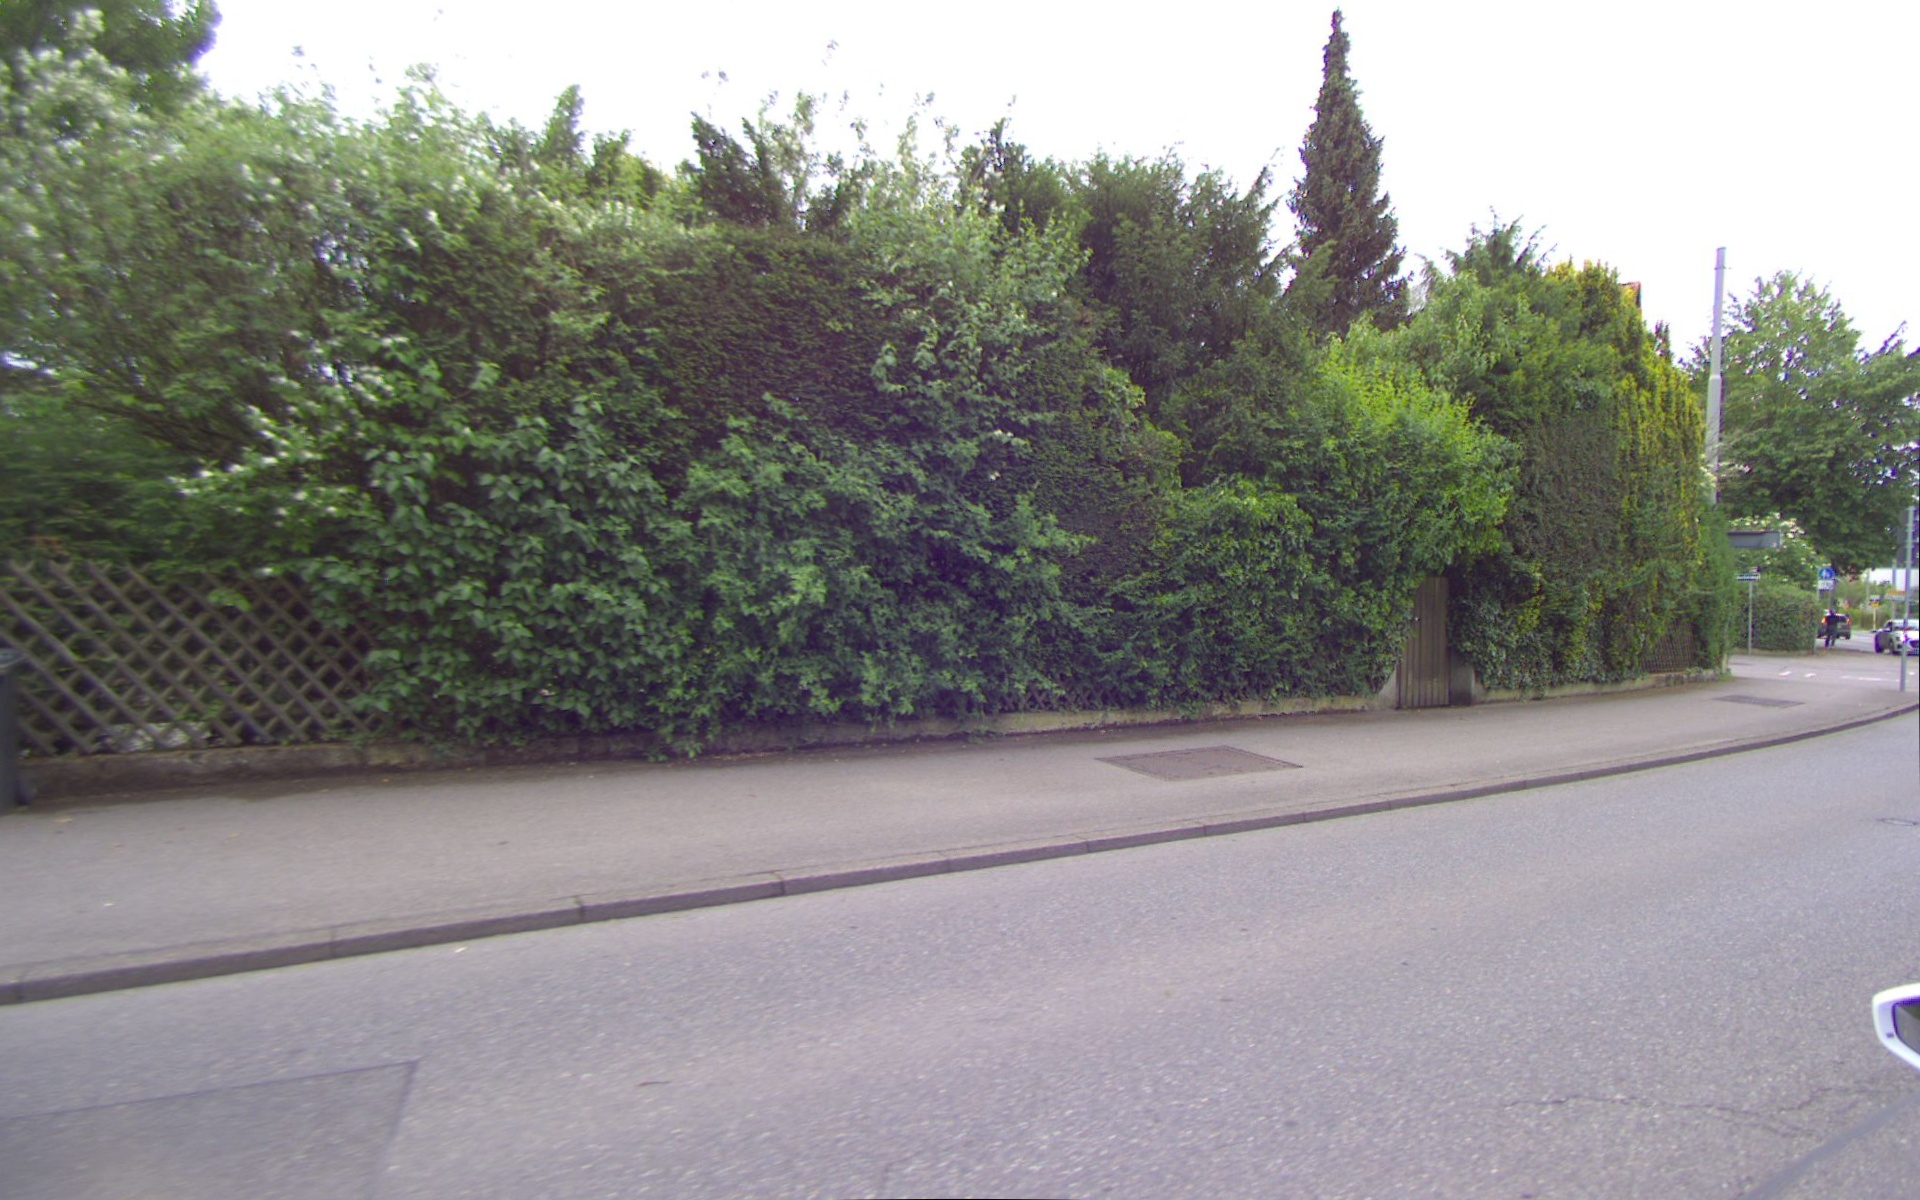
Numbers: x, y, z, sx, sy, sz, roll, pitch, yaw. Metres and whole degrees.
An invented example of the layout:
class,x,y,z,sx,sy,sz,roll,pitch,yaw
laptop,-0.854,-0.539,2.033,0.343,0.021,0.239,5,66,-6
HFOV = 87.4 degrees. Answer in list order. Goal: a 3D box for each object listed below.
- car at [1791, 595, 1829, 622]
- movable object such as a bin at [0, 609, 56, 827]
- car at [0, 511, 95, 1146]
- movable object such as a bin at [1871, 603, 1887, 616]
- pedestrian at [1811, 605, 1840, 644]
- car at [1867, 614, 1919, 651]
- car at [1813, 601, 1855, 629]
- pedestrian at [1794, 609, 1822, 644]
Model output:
class,x,y,z,sx,sy,sz,roll,pitch,yaw
car,72.198,0.696,85.295,4.398,2.041,1.942,-1,5,-45
movable object such as a bin,-5.624,0.652,5.673,0.639,1.160,0.626,0,3,-30
car,-4.142,0.578,1.522,3.953,1.639,1.984,0,0,-30
movable object such as a bin,80.464,0.865,87.907,0.702,1.088,0.681,3,1,-4
pedestrian,37.634,1.062,43.669,0.618,1.684,0.919,2,0,19
car,39.755,1.360,42.114,1.782,1.462,4.189,0,-1,31
car,57.845,1.007,66.435,1.873,1.729,3.976,2,1,43
pedestrian,36.926,1.137,43.761,0.658,1.468,0.757,1,1,18
